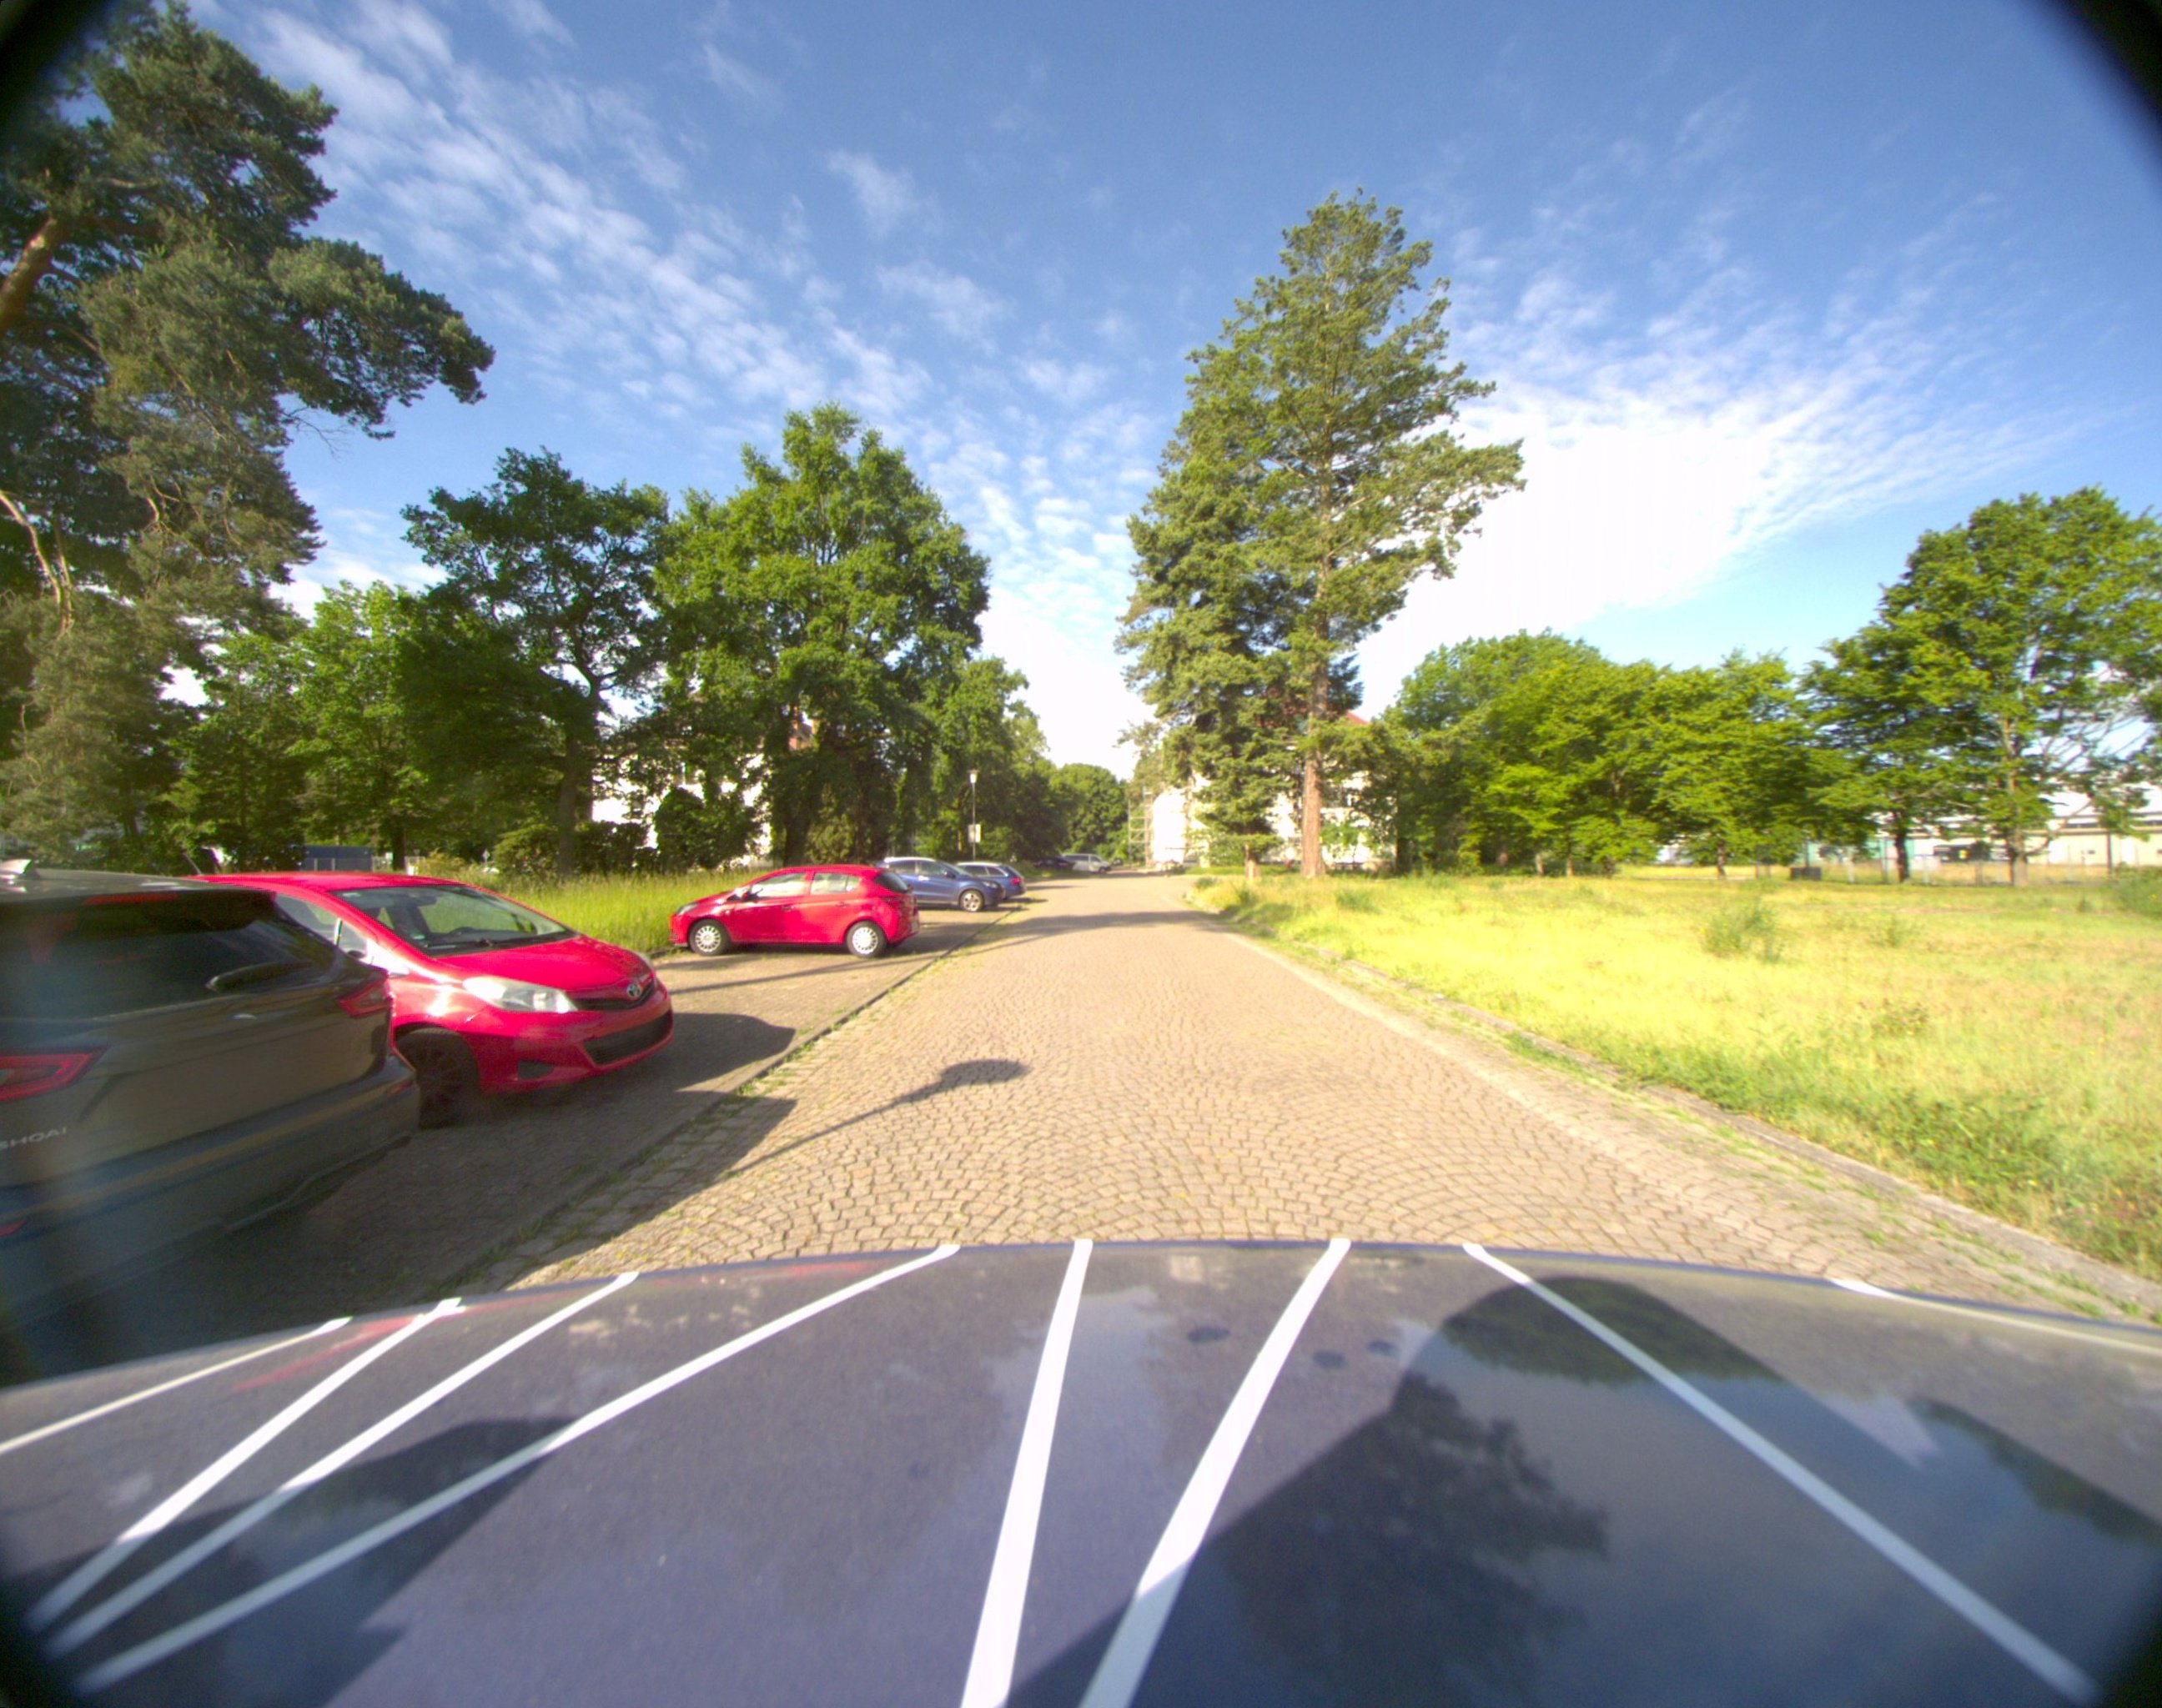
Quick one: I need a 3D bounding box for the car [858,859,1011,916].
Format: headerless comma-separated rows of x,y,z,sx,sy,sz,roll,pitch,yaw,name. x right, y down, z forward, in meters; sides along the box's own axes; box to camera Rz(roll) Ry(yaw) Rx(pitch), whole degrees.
-4.353,0.979,22.962,4.273,1.589,1.651,1,0,1,car

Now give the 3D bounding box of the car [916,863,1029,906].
-3.884,1.100,27.713,3.809,1.458,1.747,-1,0,2,car

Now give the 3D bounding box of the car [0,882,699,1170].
-4.950,1.002,5.177,3.834,1.530,1.703,0,0,2,car

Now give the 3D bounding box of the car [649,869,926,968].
-4.757,1.030,12.679,3.997,1.486,1.540,-1,0,1,car

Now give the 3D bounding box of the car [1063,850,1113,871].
0.667,0.650,76.438,4.993,2.123,2.164,0,0,-1,car

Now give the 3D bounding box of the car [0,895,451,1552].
-4.815,0.979,2.413,4.117,1.601,1.786,0,0,0,car

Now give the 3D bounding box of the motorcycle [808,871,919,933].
-4.881,1.076,17.179,2.235,1.345,0.879,0,0,3,motorcycle
